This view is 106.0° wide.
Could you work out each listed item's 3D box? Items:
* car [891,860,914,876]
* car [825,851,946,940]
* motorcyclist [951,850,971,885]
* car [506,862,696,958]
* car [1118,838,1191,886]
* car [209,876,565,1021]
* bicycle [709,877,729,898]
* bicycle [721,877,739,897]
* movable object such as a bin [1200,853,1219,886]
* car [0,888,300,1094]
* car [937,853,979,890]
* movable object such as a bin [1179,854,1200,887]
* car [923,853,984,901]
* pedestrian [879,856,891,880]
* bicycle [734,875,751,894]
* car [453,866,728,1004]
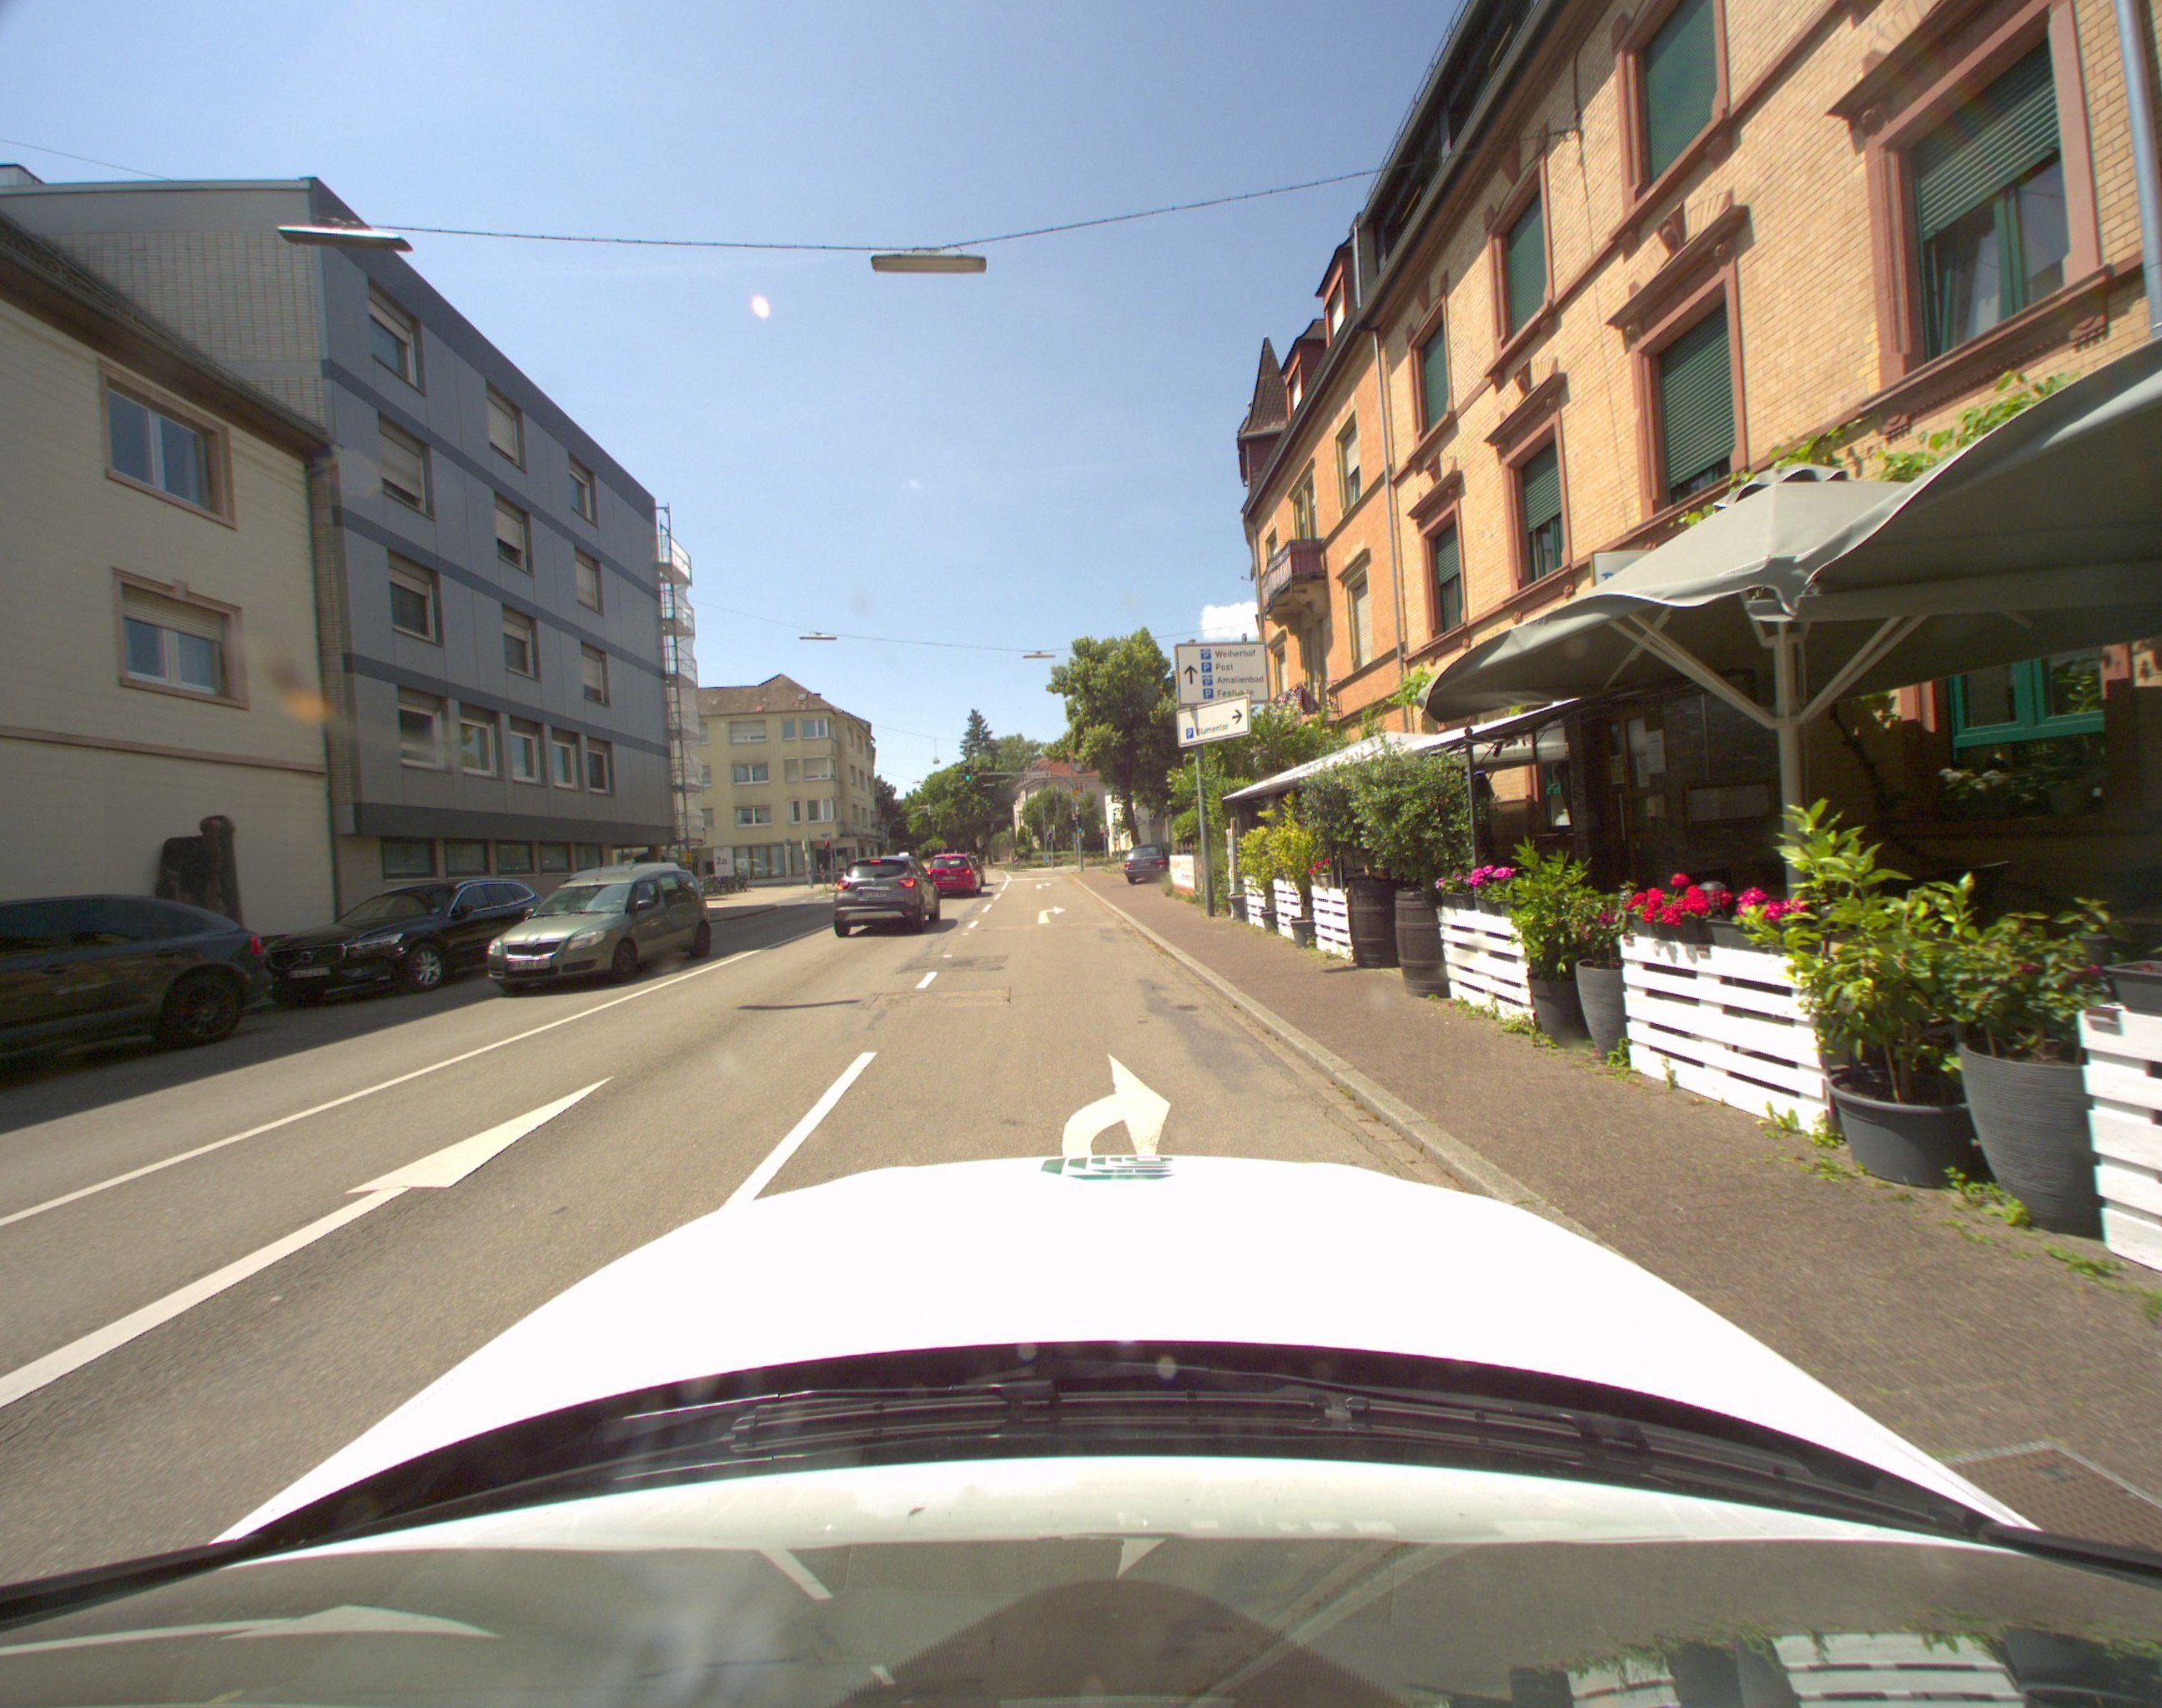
[{"bbox_3d":[-17.995,1.438,81.989,1.998,1.519,3.976,-2,-1,-17],"label":"car"},{"bbox_3d":[-4.106,0.800,17.731,1.750,1.632,3.996,-3,0,-3],"label":"car"},{"bbox_3d":[-5.153,0.565,35.039,0.710,1.445,1.017,-3,0,-5],"label":"motorcyclist"},{"bbox_3d":[-11.285,1.205,19.619,1.911,1.825,4.780,-5,0,-5],"label":"car"},{"bbox_3d":[3.048,0.261,32.708,1.820,1.548,5.180,-4,1,17],"label":"car"},{"bbox_3d":[-10.645,1.306,13.109,1.882,1.641,4.655,-5,0,-5],"label":"car"},{"bbox_3d":[-18.113,1.654,40.815,0.397,0.967,1.714,-3,0,-8],"label":"bicycle"},{"bbox_3d":[-18.387,1.701,42.667,0.397,0.967,1.741,-3,0,-8],"label":"bicycle"},{"bbox_3d":[4.360,0.524,27.585,0.549,1.071,0.706,-3,0,6],"label":"movable object such as a bin"},{"bbox_3d":[-10.192,1.299,7.233,1.881,1.641,4.812,-5,0,-3],"label":"car"},{"bbox_3d":[-5.850,0.804,39.161,1.797,1.557,4.027,-3,0,-7],"label":"car"},{"bbox_3d":[3.669,0.558,27.660,0.646,1.071,0.638,-3,0,6],"label":"movable object such as a bin"},{"bbox_3d":[-4.665,0.807,30.390,1.795,1.558,4.032,-3,0,-3],"label":"car"},{"bbox_3d":[-16.939,1.211,70.397,0.937,1.931,0.972,-3,0,-16],"label":"pedestrian"},{"bbox_3d":[-18.609,1.690,44.768,0.397,0.967,1.779,-3,0,-8],"label":"bicycle"},{"bbox_3d":[-7.227,1.067,12.610,1.698,1.574,4.307,-4,0,-3],"label":"car"}]
